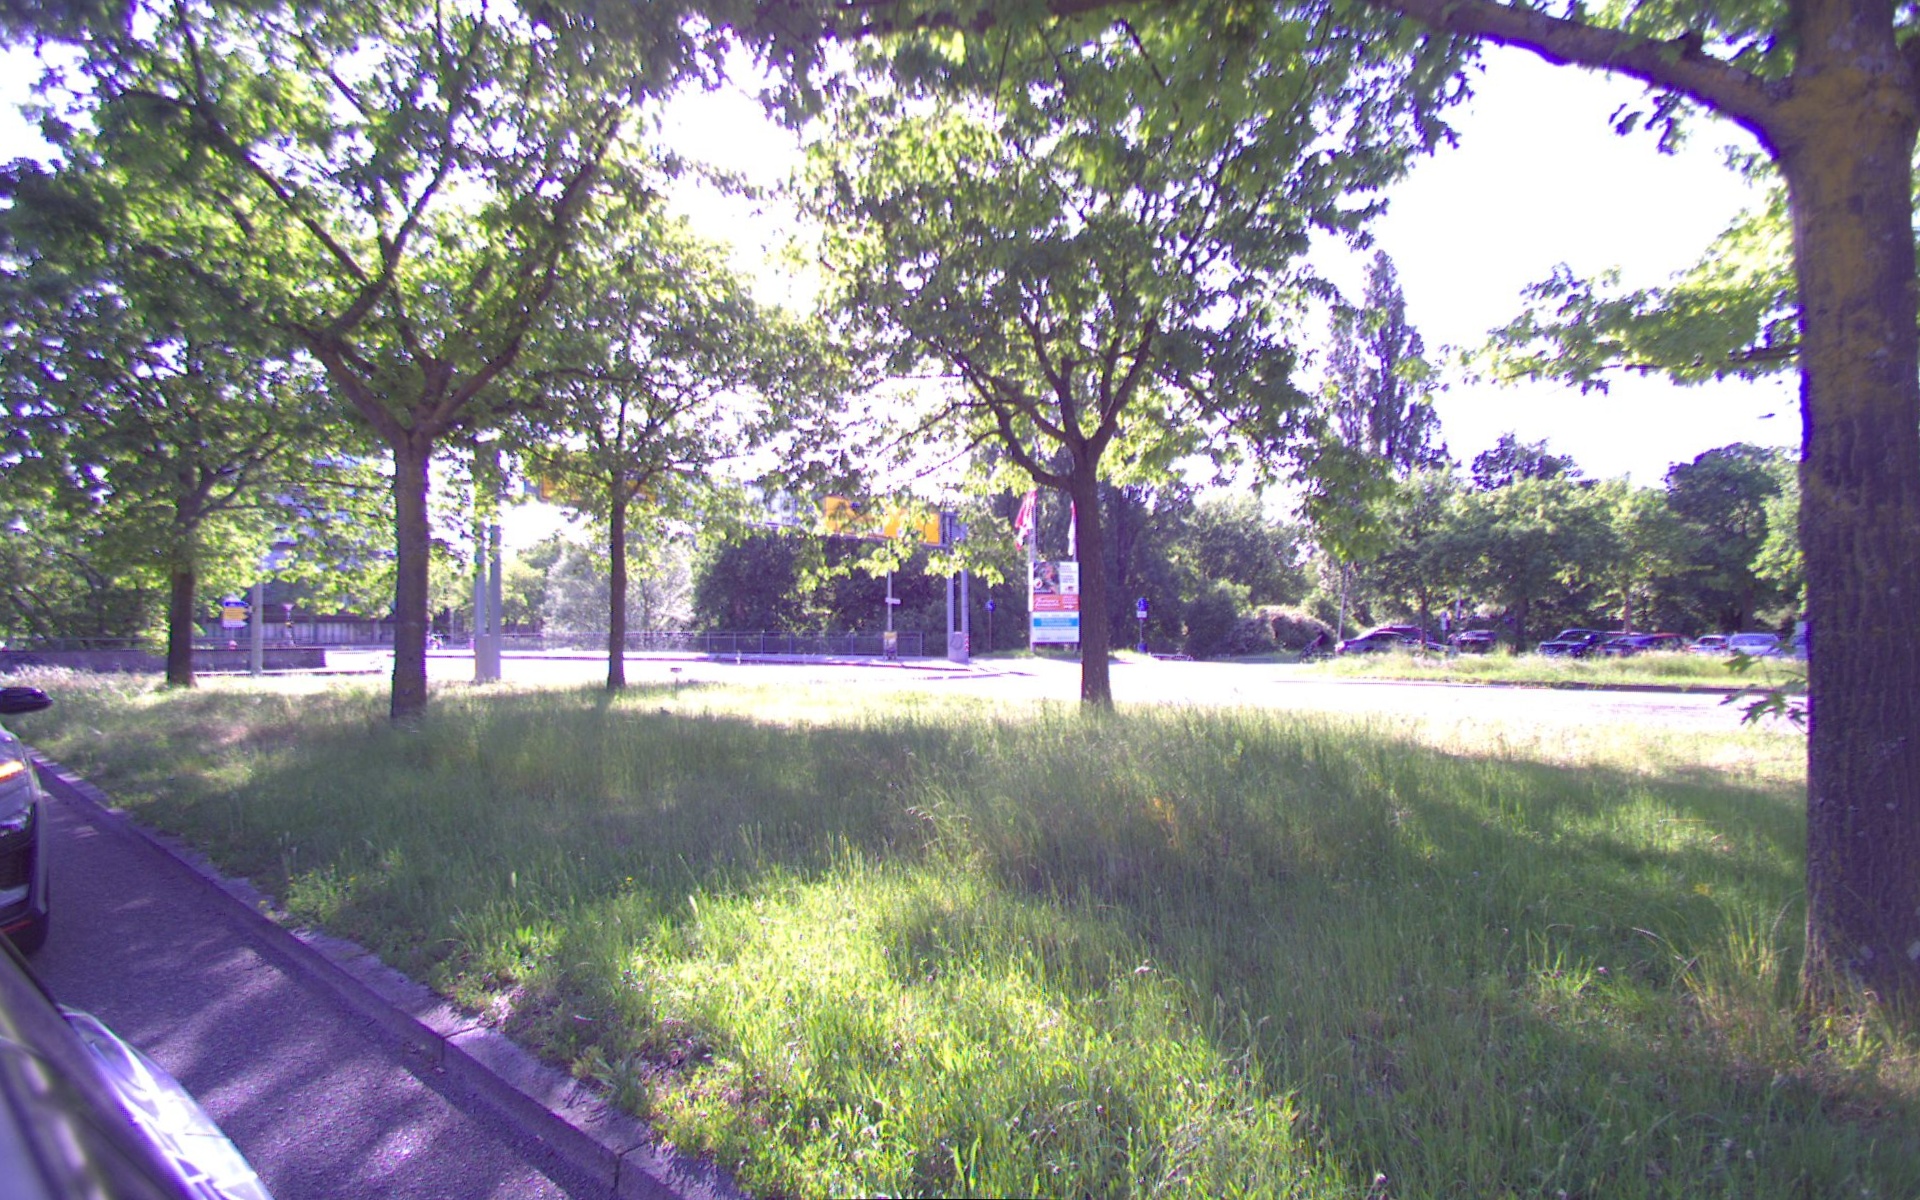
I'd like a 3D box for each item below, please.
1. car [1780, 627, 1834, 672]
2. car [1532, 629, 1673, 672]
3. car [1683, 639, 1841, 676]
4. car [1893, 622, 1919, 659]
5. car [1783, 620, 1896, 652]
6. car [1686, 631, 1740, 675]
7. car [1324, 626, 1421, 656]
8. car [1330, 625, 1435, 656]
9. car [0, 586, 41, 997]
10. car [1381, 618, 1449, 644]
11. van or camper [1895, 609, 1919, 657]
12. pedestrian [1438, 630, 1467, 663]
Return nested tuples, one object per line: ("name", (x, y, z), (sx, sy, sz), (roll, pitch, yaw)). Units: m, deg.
("car", (35.833, 2.054, 42.817), (1.653, 1.618, 3.834), (-2, 1, 40))
("car", (23.629, 1.825, 37.353), (1.791, 1.459, 4.012), (0, -2, -30))
("car", (26.720, 1.905, 33.891), (3.990, 1.137, 1.800), (-2, -2, 35))
("car", (42.615, 1.704, 42.949), (1.936, 1.484, 4.011), (-2, -1, -33))
("car", (43.620, 1.796, 50.252), (1.969, 1.521, 4.005), (1, -2, -41))
("car", (33.123, 2.276, 44.485), (1.653, 1.618, 3.834), (-2, 1, 40))
("car", (22.076, 2.198, 54.359), (4.509, 1.475, 1.993), (-1, 0, 12))
("car", (21.157, 2.016, 50.853), (4.509, 1.475, 1.993), (-1, 0, 12))
("car", (-5.634, 0.767, 4.651), (3.980, 1.563, 1.756), (-2, -2, 43))
("car", (32.363, 2.235, 71.964), (4.126, 1.814, 1.976), (-2, -2, 35))
("van or camper", (44.467, 1.441, 44.556), (1.966, 2.112, 4.414), (1, -2, -32))
("pedestrian", (21.317, 2.010, 43.825), (0.873, 1.429, 0.988), (-2, -2, 41))
